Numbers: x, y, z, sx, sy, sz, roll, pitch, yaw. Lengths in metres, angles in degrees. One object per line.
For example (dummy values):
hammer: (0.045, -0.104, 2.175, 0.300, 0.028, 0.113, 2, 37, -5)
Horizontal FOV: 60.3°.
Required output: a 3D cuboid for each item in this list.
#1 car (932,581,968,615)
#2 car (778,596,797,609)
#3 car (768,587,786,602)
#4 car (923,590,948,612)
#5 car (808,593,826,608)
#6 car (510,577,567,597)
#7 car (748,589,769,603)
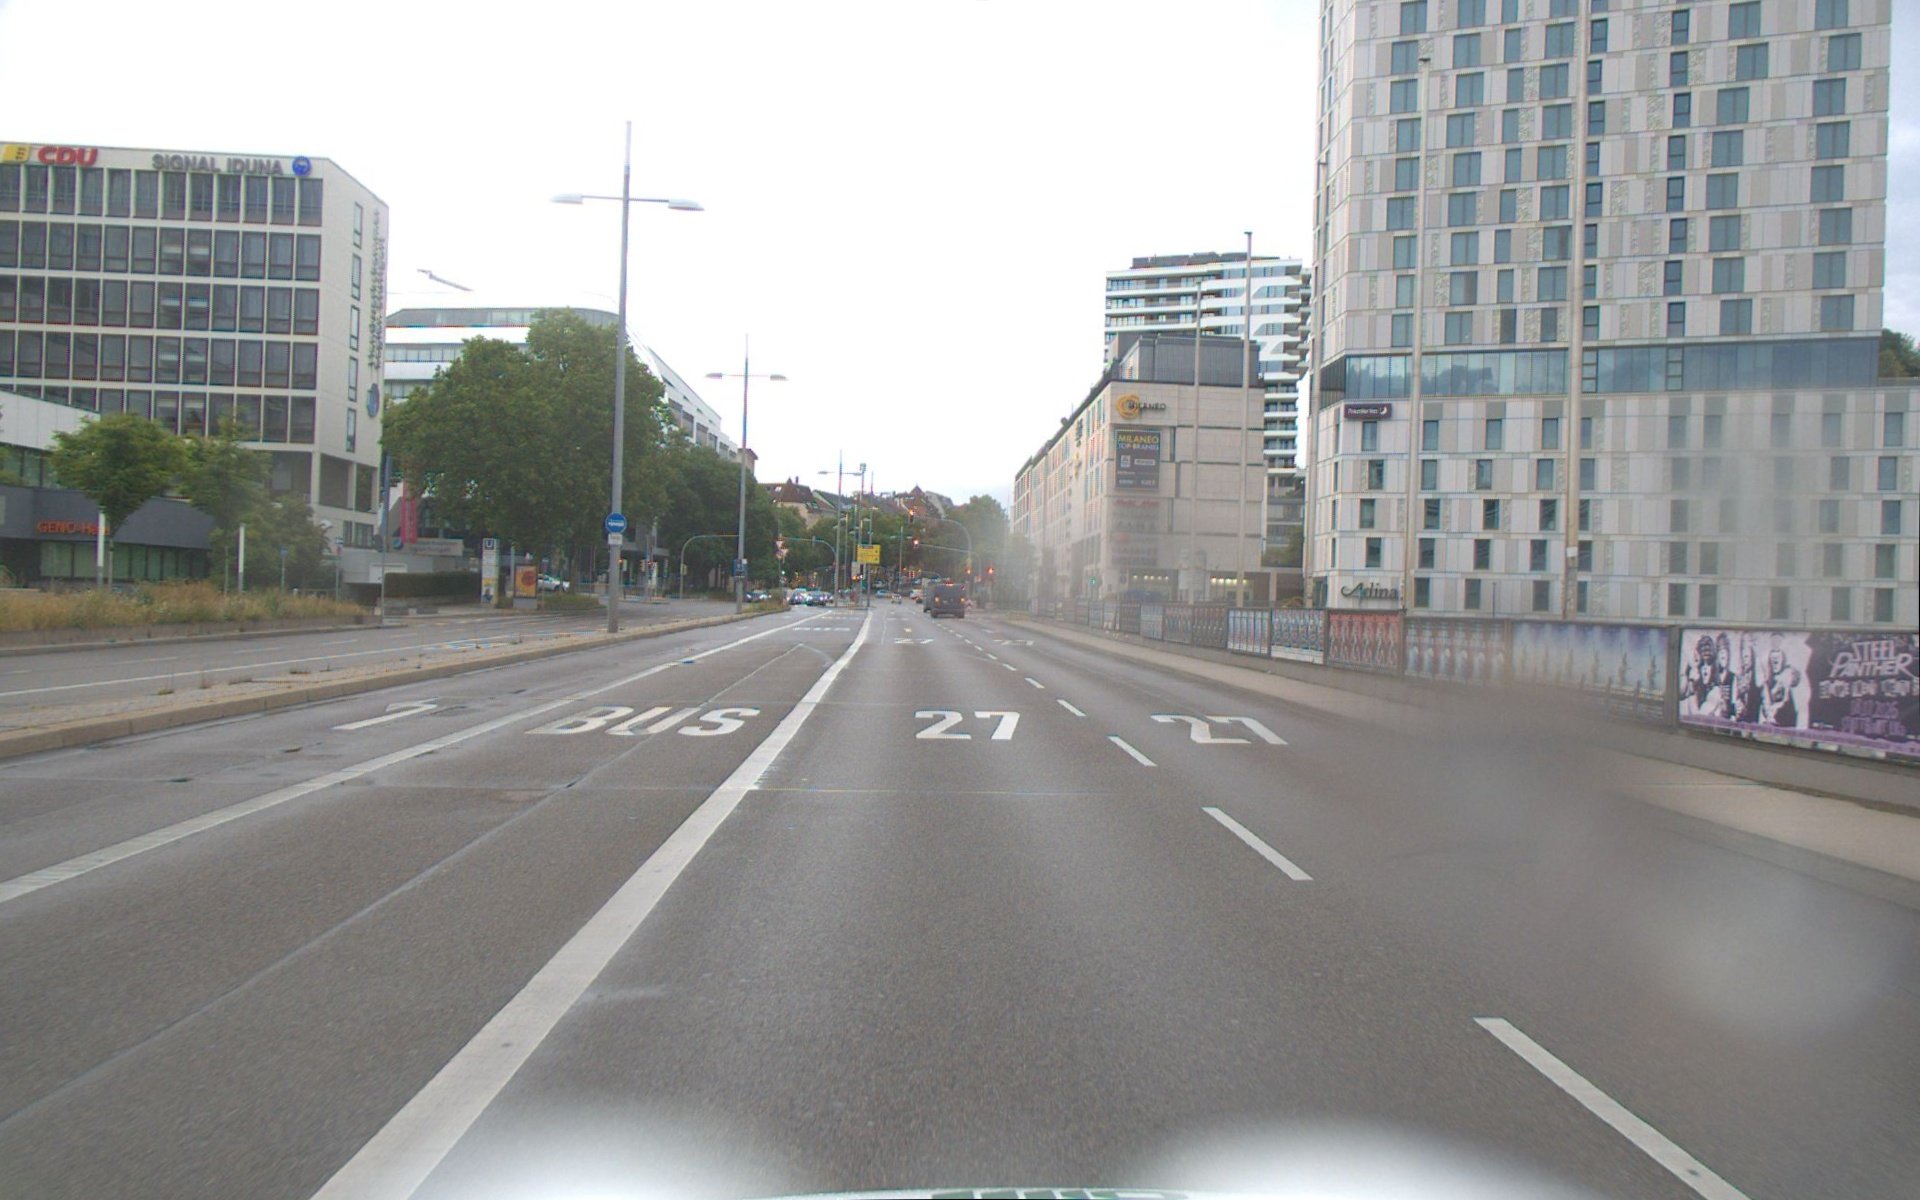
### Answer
car: (-0.629, -0.129, 99.265, 1.992, 1.915, 5.040, -2, 1, -2)
car: (-17.732, 0.246, 170.213, 1.708, 1.279, 3.538, 2, 0, -2)
car: (-20.238, -0.584, 183.372, 1.708, 1.586, 3.537, 1, -1, -2)
car: (-1.837, 0.120, 123.002, 1.705, 1.558, 3.812, 1, -1, -2)
car: (-14.621, 0.093, 169.309, 1.708, 1.470, 3.393, 1, -1, -2)
car: (-36.198, -1.104, 142.054, 4.405, 1.660, 1.896, 1, -1, 14)
car: (-20.648, -0.427, 169.596, 1.708, 1.352, 4.223, 1, -1, -2)
